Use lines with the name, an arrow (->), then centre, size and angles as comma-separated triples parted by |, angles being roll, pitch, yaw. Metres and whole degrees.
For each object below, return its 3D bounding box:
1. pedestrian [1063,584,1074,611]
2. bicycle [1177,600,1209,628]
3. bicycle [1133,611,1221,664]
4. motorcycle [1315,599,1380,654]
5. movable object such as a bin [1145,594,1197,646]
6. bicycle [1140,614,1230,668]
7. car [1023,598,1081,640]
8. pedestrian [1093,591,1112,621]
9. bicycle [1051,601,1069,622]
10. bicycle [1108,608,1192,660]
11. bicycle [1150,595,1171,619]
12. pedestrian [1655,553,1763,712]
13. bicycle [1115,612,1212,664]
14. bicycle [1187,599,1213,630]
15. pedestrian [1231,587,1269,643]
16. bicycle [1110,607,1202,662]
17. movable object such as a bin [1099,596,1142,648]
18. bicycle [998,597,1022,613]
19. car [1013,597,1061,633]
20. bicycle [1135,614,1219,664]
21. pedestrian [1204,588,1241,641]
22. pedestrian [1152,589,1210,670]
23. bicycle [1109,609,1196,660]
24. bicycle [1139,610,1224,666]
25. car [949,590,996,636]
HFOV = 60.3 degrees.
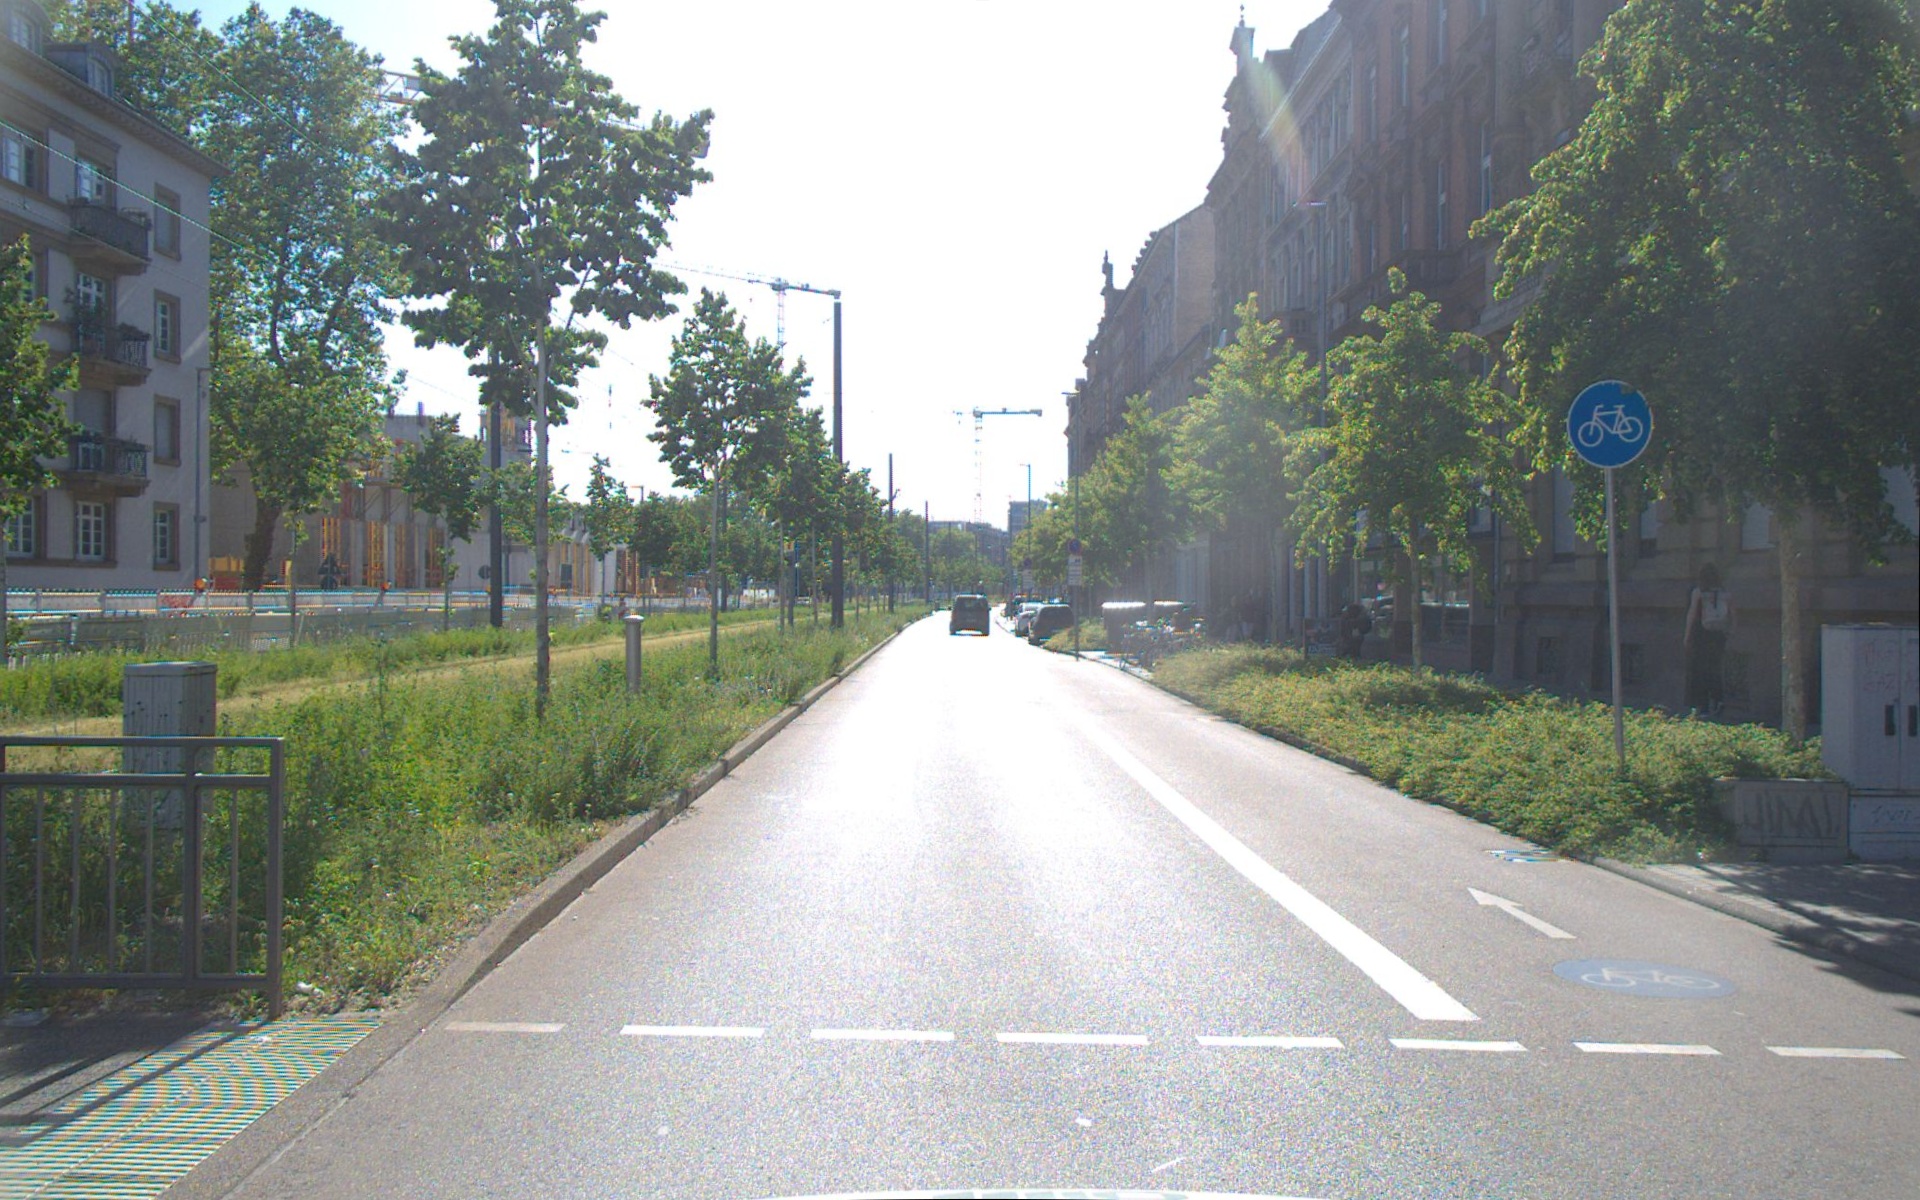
pedestrian -> 8.681, -0.196, 132.257 | 0.801, 2.049, 1.046 | 1, -3, 0
bicycle -> 9.775, 0.567, 69.401 | 0.858, 1.124, 2.180 | -3, 0, -3
bicycle -> 4.963, 0.855, 37.875 | 1.938, 1.128, 0.435 | -2, -1, -4
motorcycle -> 9.555, 0.645, 40.880 | 0.848, 1.288, 2.981 | 1, -1, -1
movable object such as a bin -> 6.522, 0.624, 51.320 | 1.345, 1.521, 1.749 | -2, -1, 0
bicycle -> 4.897, 0.889, 36.057 | 1.855, 1.128, 0.517 | -2, 0, -6
car -> 3.521, 0.736, 63.982 | 1.730, 1.502, 4.446 | -2, 0, -3
pedestrian -> 8.536, 0.382, 99.125 | 0.975, 1.762, 0.866 | 1, -1, -1
bicycle -> 5.651, 0.652, 93.318 | 0.637, 1.139, 2.169 | -1, 0, -6
bicycle -> 4.692, 0.842, 40.872 | 1.937, 1.143, 0.481 | -4, 1, -6
bicycle -> 9.747, 0.327, 80.536 | 0.706, 1.109, 2.198 | -1, 0, 0
pedestrian -> 9.544, 0.407, 21.114 | 0.871, 1.953, 1.098 | -2, 0, 4
bicycle -> 4.804, 0.890, 39.038 | 2.247, 1.121, 0.484 | -2, 0, -15
bicycle -> 9.628, 0.573, 66.334 | 0.732, 1.222, 1.800 | -1, -1, -1
pedestrian -> 8.936, 0.454, 50.968 | 0.951, 1.668, 0.992 | -1, 1, -1
bicycle -> 4.663, 0.811, 39.380 | 2.110, 1.174, 0.428 | -3, 0, -15
movable object such as a bin -> 4.959, 0.661, 51.125 | 1.244, 1.488, 1.645 | 1, 2, 4
bicycle -> 4.085, 0.385, 134.064 | 1.843, 1.255, 0.499 | -2, 0, -6
car -> 3.535, 0.673, 76.690 | 1.912, 1.521, 5.104 | -2, 0, 0
bicycle -> 4.924, 0.886, 37.530 | 1.779, 1.074, 0.571 | -1, 0, -7
pedestrian -> 8.113, 0.431, 51.175 | 0.931, 1.594, 1.080 | -1, 1, -1
pedestrian -> 5.040, 0.673, 37.669 | 0.895, 1.766, 0.837 | -3, 0, -41
bicycle -> 4.702, 0.837, 40.465 | 2.004, 1.126, 0.610 | -3, 0, -7
bicycle -> 4.873, 0.831, 36.411 | 1.829, 1.199, 0.373 | 0, -1, -4
car -> 0.540, 0.609, 77.228 | 1.954, 2.049, 3.998 | 1, -1, -3
